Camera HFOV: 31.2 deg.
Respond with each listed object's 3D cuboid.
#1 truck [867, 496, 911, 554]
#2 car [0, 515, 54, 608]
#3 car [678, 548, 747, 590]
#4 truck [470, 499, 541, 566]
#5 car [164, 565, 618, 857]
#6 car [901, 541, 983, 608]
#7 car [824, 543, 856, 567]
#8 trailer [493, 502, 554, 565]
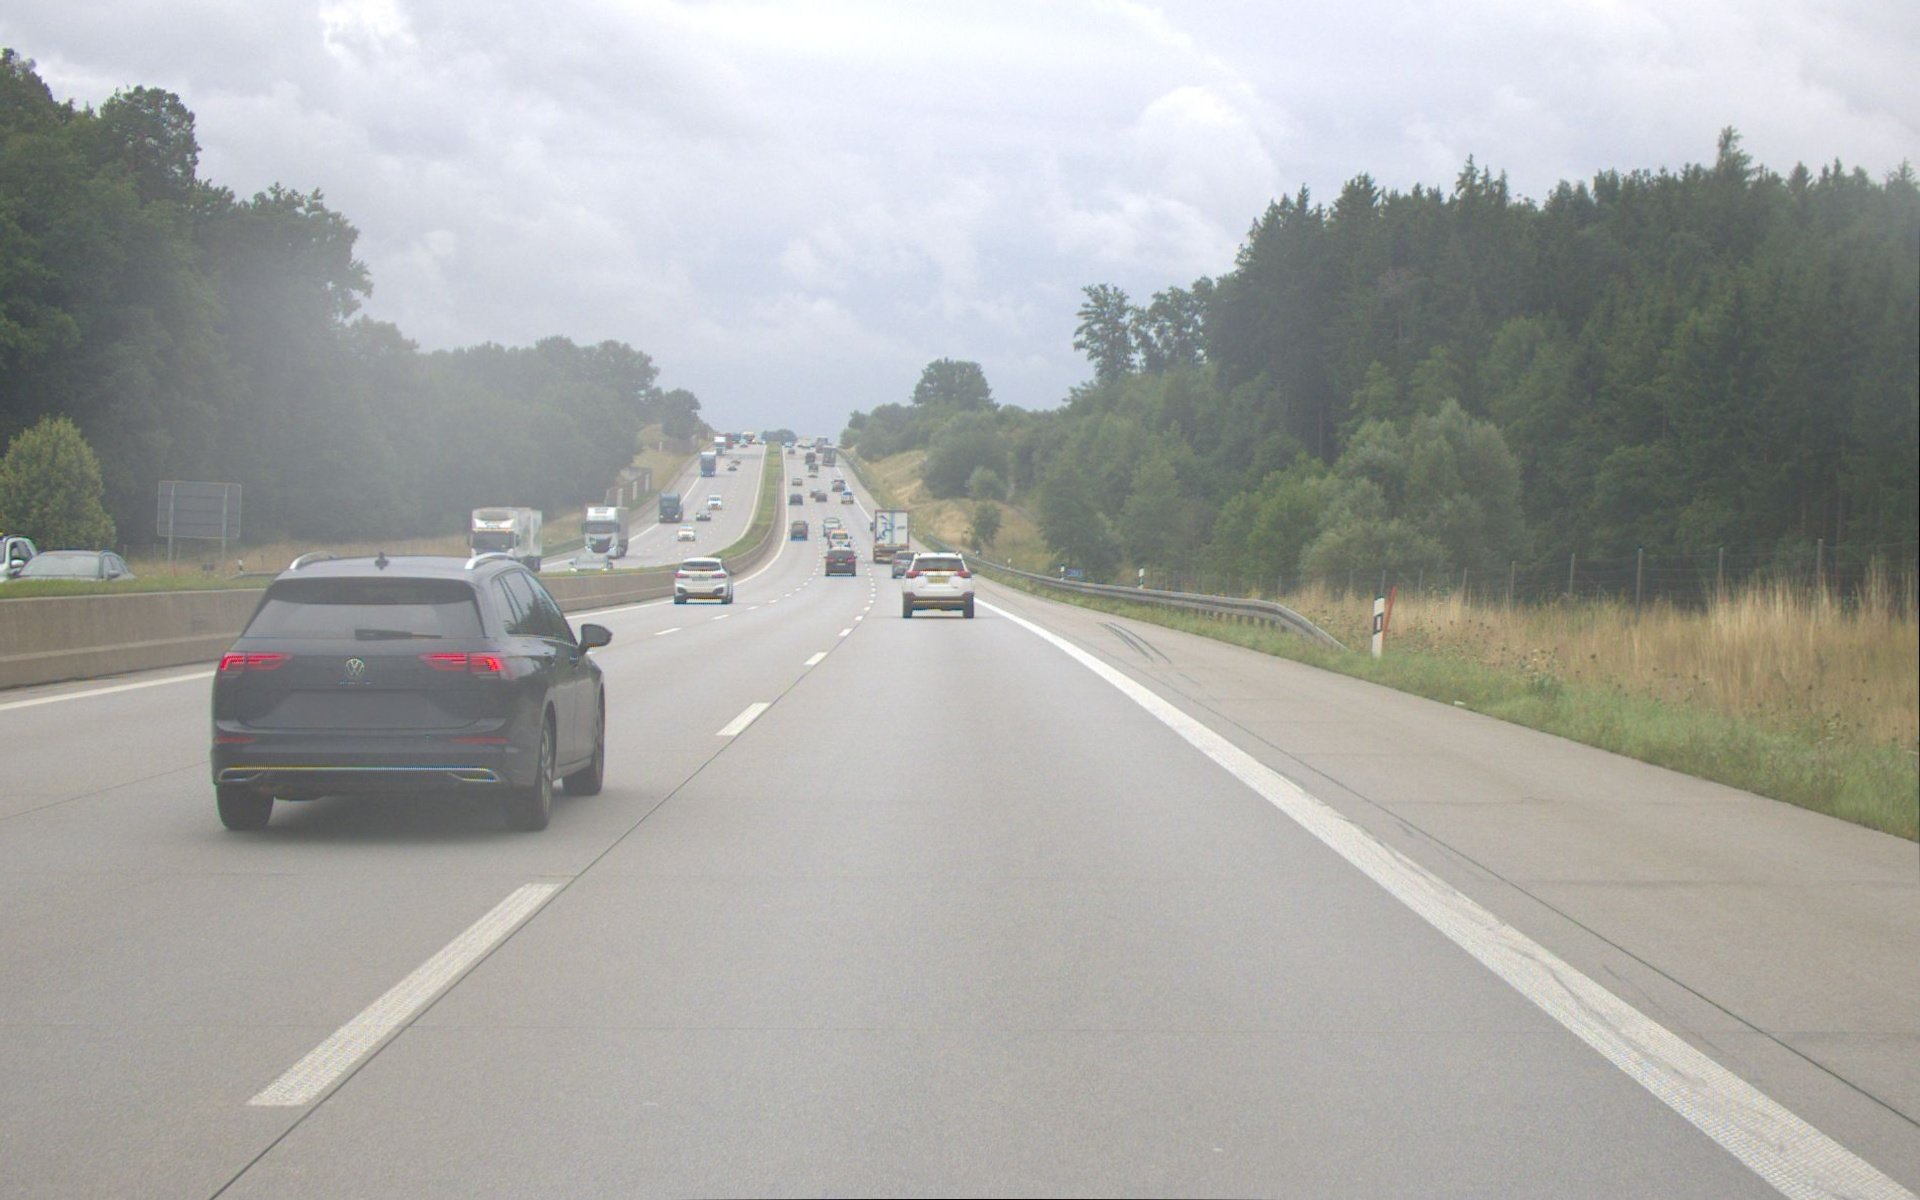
[{"bbox_3d":[-5.393,-5.749,260.752,3.017,4.165,8.356,0,3,-3],"label":"truck"},{"bbox_3d":[-19.630,-0.779,68.619,1.993,1.794,4.392,1,1,-1],"label":"car"},{"bbox_3d":[-8.291,-1.044,115.456,1.947,1.351,4.259,1,1,1],"label":"car"},{"bbox_3d":[-26.329,-3.886,199.440,2.813,3.760,11.352,1,1,-1],"label":"truck"},{"bbox_3d":[-3.034,0.525,19.223,1.752,1.393,4.484,1,1,0],"label":"car"},{"bbox_3d":[-0.474,-0.673,87.318,1.825,1.650,3.986,0,1,-4],"label":"car"},{"bbox_3d":[-7.325,-2.777,210.070,1.935,1.370,4.595,1,2,-2],"label":"car"},{"bbox_3d":[-26.515,-4.052,209.006,2.818,3.770,7.716,1,1,-1],"label":"trailer"}]
